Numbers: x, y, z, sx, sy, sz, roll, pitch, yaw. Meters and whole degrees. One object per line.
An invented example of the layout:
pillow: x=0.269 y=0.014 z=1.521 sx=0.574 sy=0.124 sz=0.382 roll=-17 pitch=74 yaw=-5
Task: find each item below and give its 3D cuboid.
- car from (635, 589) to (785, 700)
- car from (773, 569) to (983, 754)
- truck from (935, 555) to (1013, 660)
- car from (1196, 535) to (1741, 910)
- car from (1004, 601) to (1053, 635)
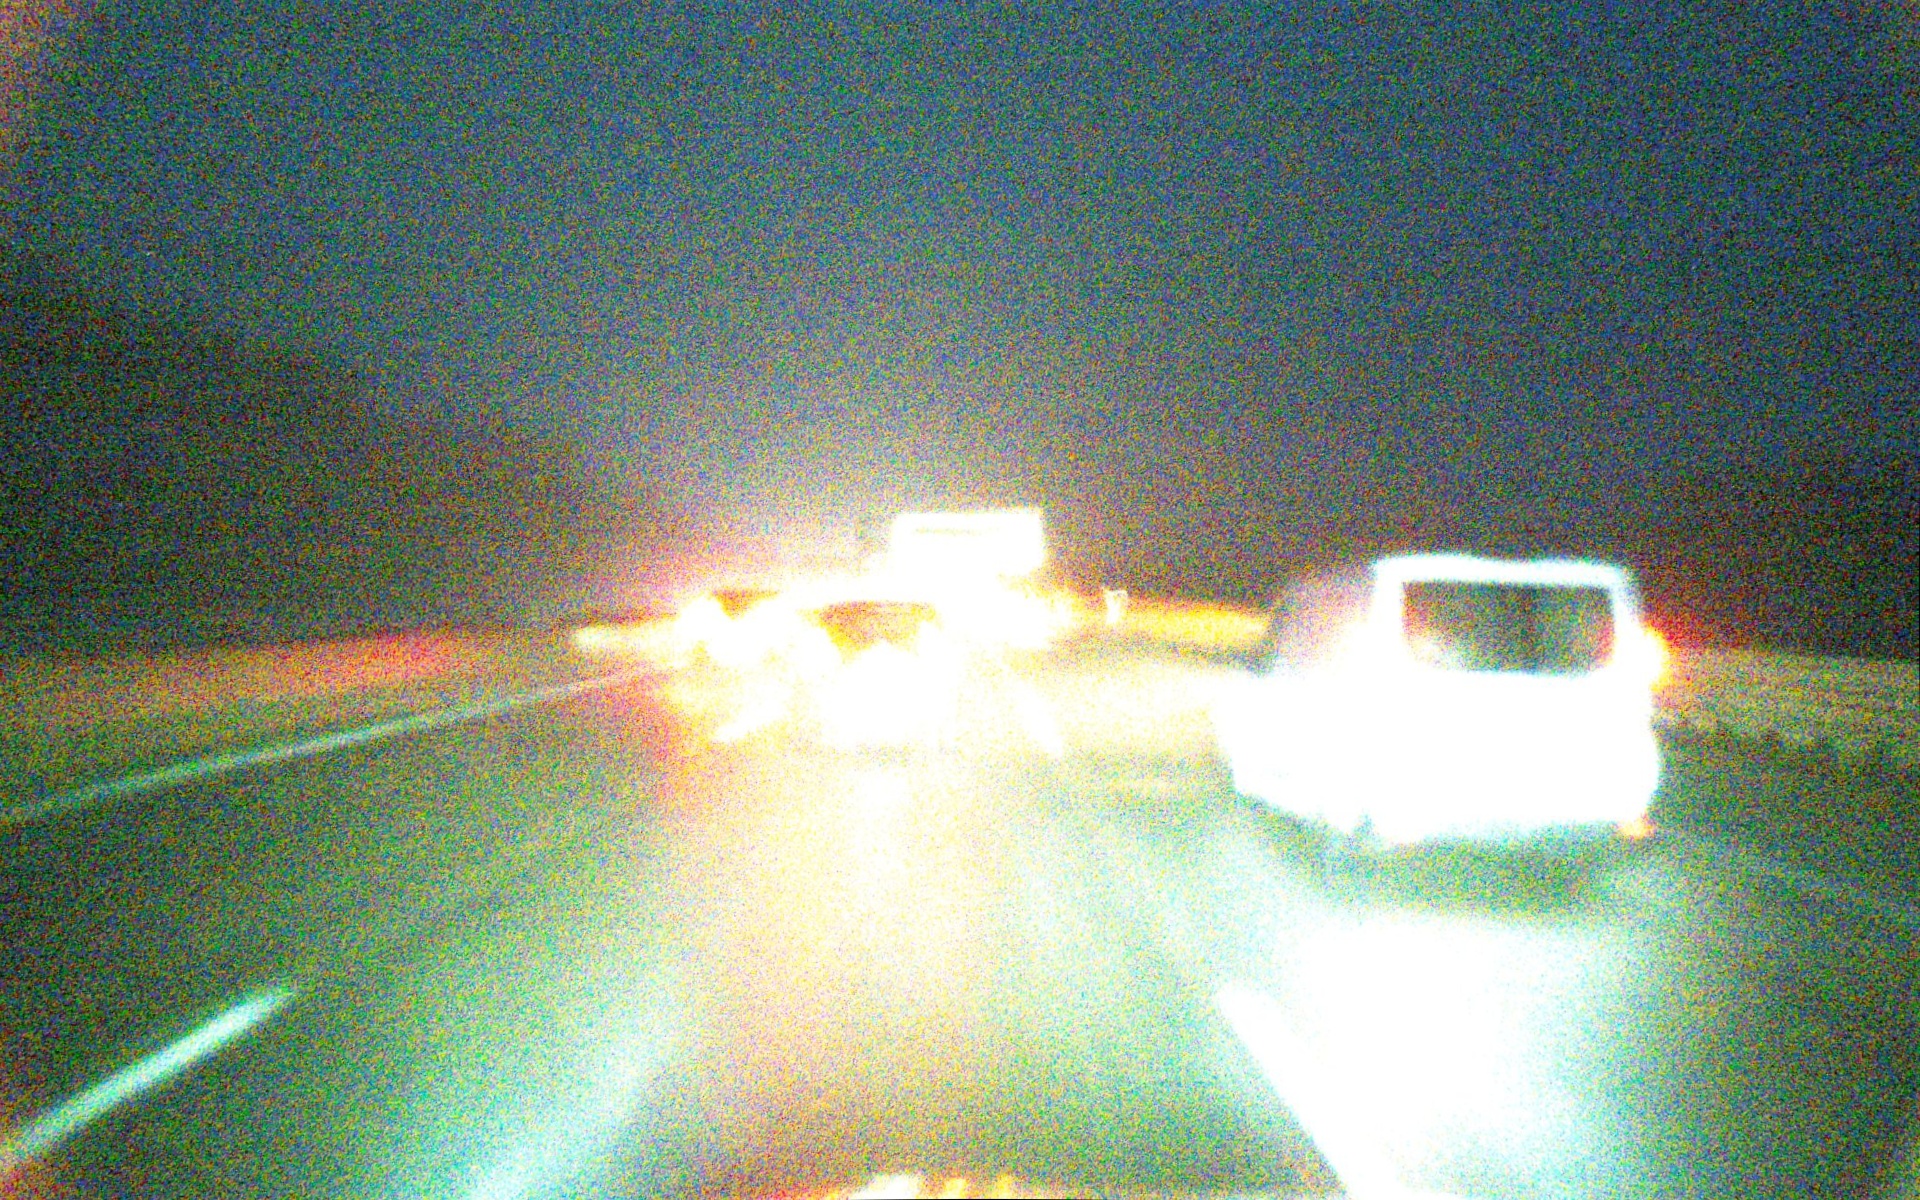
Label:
car: x=-4.499 y=0.776 z=30.488 sx=1.953 sy=1.808 sz=4.886 roll=-2 pitch=-1 yaw=0
car: x=-0.775 y=0.587 z=17.321 sx=1.877 sy=1.622 sz=4.232 roll=-2 pitch=-1 yaw=-1
truck: x=0.669 y=0.507 z=97.727 sx=4.083 sy=5.641 sz=13.071 roll=-2 pitch=-1 yaw=-1
car: x=2.914 y=0.576 z=10.837 sx=1.913 sy=1.823 sz=5.124 roll=-1 pitch=1 yaw=-1
car: x=2.958 y=0.774 z=71.834 sx=1.851 sy=1.378 sz=3.999 roll=2 pitch=0 yaw=-2
